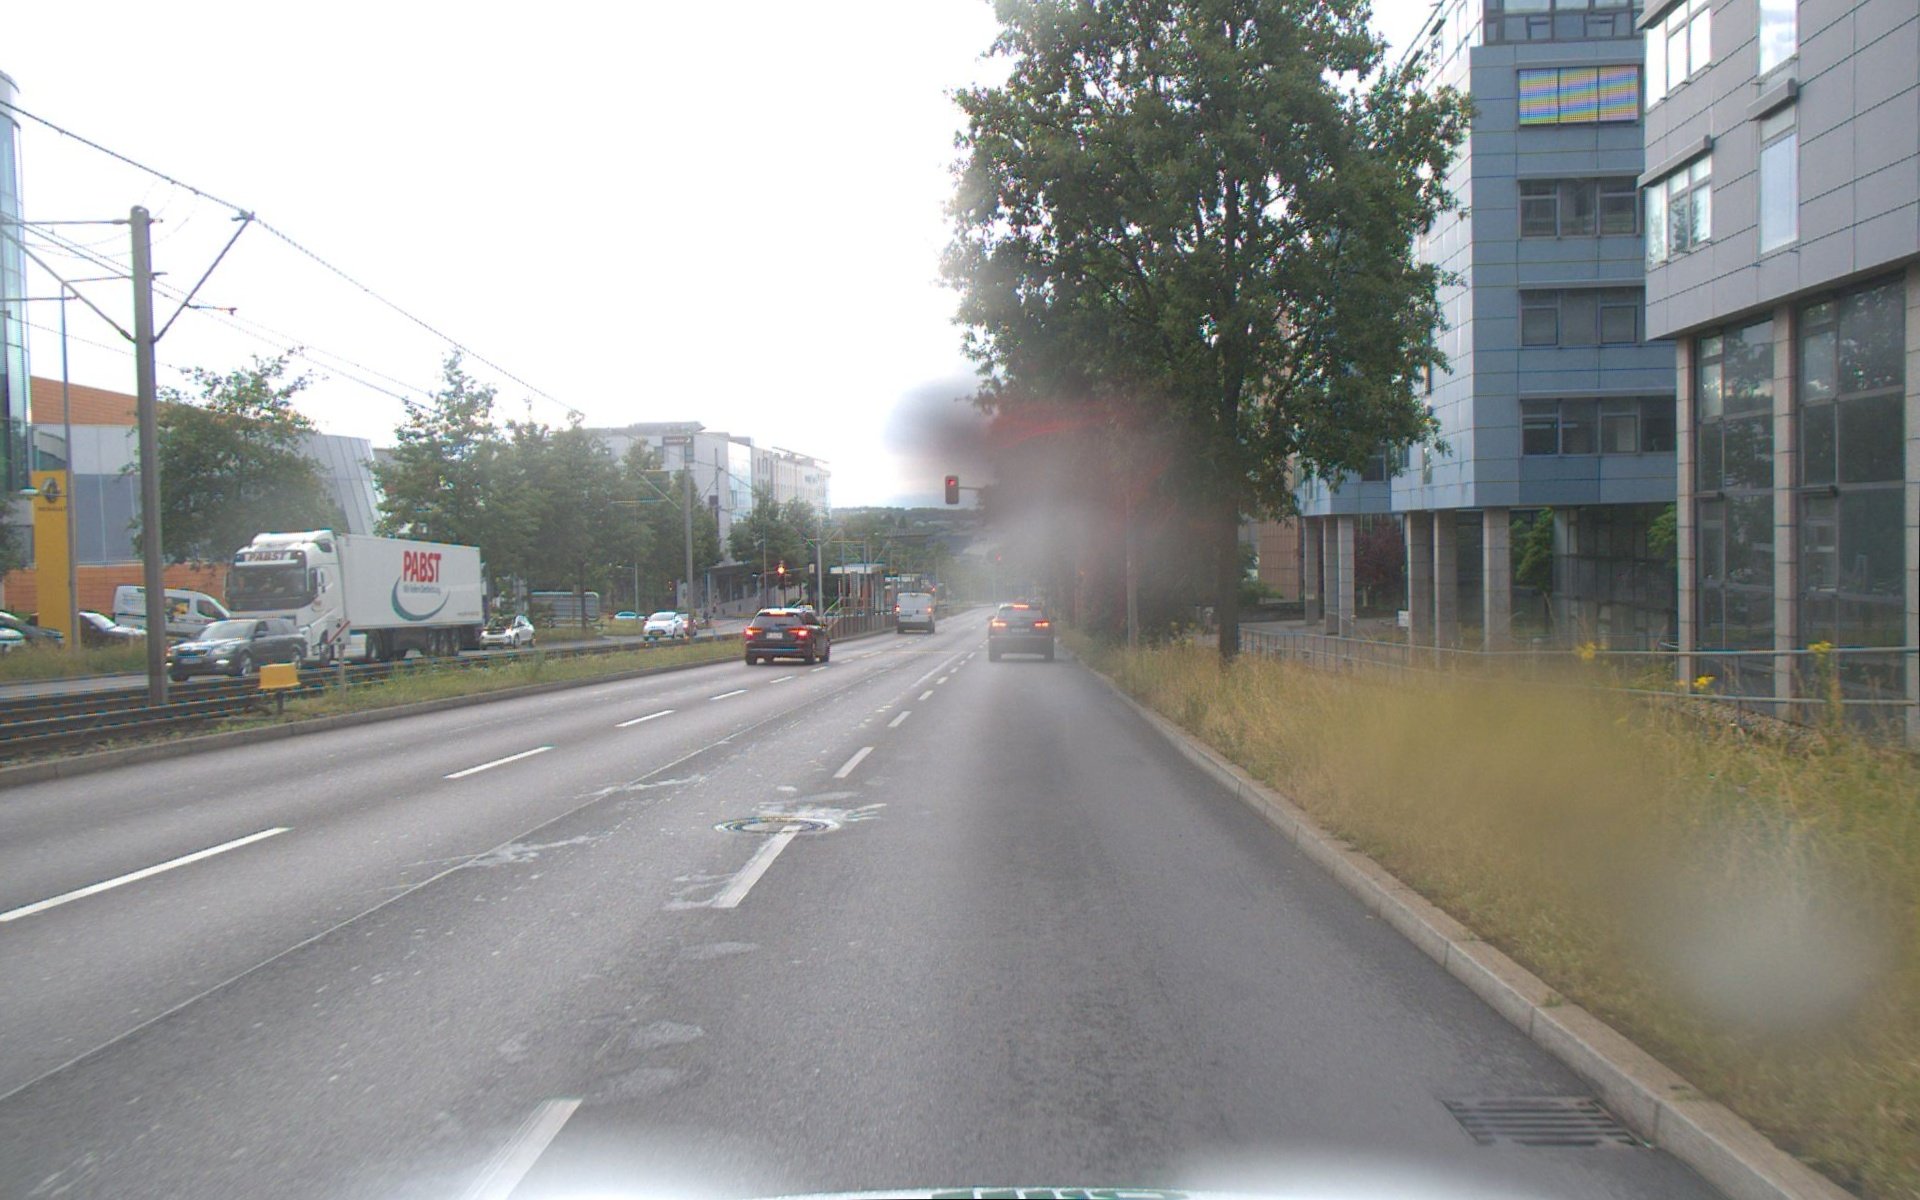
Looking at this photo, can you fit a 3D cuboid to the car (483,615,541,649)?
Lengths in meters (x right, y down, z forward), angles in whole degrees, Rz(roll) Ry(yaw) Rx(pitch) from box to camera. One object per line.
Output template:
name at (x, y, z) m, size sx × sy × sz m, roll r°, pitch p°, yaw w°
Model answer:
car at (-21.808, 1.543, 80.625) m, size 1.628 × 1.571 × 3.898 m, roll 0°, pitch -1°, yaw 3°

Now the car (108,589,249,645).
car at (-33.859, 0.750, 71.813) m, size 5.216 × 2.353 × 2.011 m, roll 0°, pitch -1°, yaw -16°

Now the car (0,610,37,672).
car at (-33.134, 1.377, 54.276) m, size 4.512 × 2.011 × 2.018 m, roll -1°, pitch 0°, yaw -5°

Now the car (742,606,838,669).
car at (-4.413, 0.940, 43.527) m, size 1.748 × 1.438 × 4.808 m, roll 0°, pitch 1°, yaw 3°

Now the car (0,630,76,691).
car at (-33.341, 2.105, 57.096) m, size 4.512 × 2.011 × 2.018 m, roll -1°, pitch 0°, yaw -5°

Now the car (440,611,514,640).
car at (-31.886, 1.683, 109.236) m, size 4.234 × 1.841 × 2.098 m, roll 0°, pitch 1°, yaw -2°

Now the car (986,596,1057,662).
car at (1.725, 0.799, 47.604) m, size 1.883 × 1.740 × 4.098 m, roll 0°, pitch 1°, yaw 0°

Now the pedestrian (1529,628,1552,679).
pedestrian at (16.454, 1.509, 46.896) m, size 0.492 × 1.433 × 0.457 m, roll 0°, pitch -1°, yaw 2°

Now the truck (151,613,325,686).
truck at (-17.443, 1.164, 40.241) m, size 1.901 × 1.595 × 4.547 m, roll -3°, pitch -1°, yaw 5°

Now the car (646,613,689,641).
car at (-15.678, 1.431, 88.787) m, size 1.628 × 1.467 × 3.896 m, roll 0°, pitch -1°, yaw 0°

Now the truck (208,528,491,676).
truck at (-19.966, -0.052, 56.091) m, size 2.979 × 4.253 × 17.205 m, roll 0°, pitch 1°, yaw 1°

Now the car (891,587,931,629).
car at (-2.852, 0.421, 95.422) m, size 2.223 × 2.324 × 4.757 m, roll 0°, pitch 1°, yaw -3°
